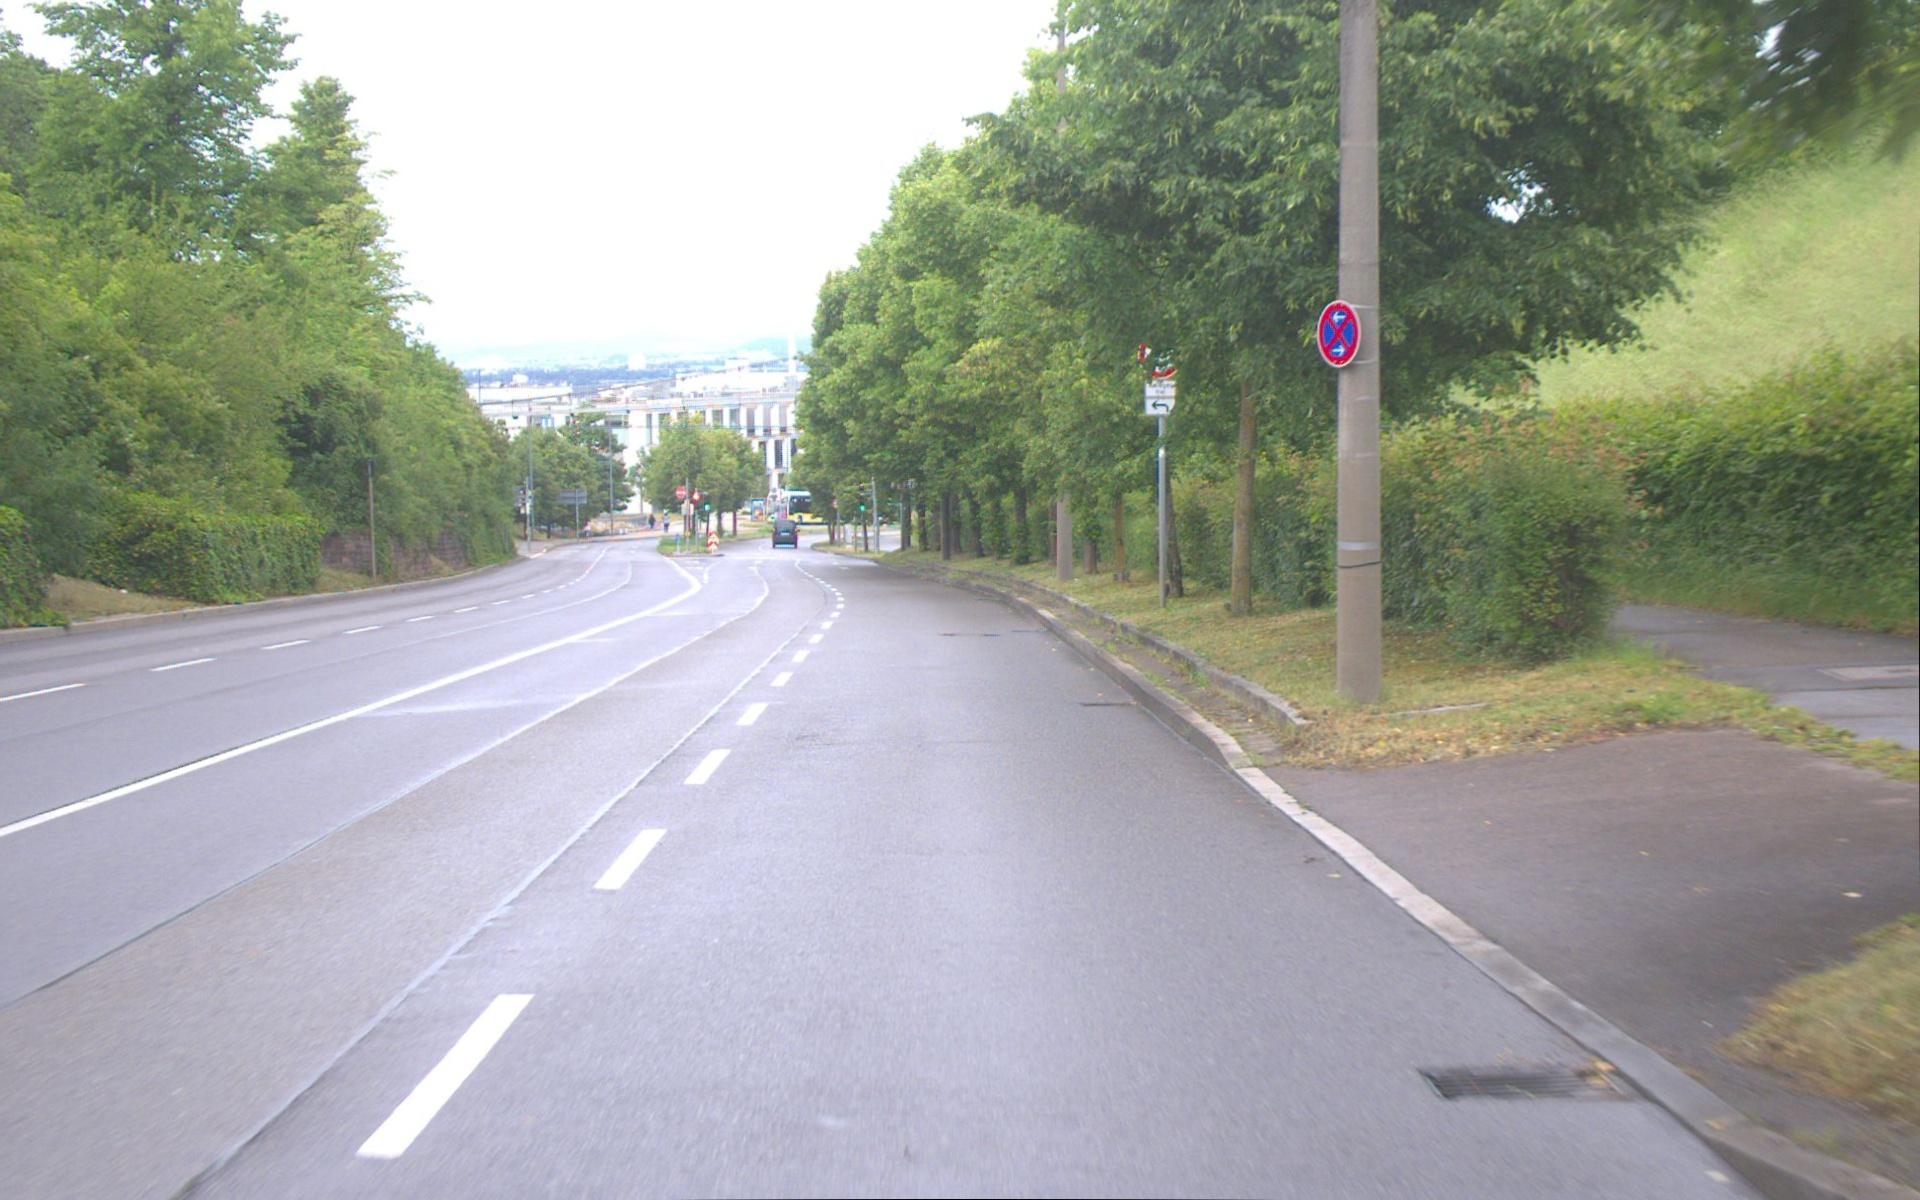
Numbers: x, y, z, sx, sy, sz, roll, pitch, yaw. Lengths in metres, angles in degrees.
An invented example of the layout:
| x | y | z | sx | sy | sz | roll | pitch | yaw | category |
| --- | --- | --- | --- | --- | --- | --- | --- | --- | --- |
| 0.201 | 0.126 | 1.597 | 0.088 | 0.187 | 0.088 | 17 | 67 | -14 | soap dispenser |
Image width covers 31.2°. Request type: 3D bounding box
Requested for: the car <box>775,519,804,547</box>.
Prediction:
| x | y | z | sx | sy | sz | roll | pitch | yaw | category |
| --- | --- | --- | --- | --- | --- | --- | --- | --- | --- |
| -11.085 | -4.343 | 223.834 | 1.849 | 1.696 | 3.793 | 1 | 0 | -3 | car |
